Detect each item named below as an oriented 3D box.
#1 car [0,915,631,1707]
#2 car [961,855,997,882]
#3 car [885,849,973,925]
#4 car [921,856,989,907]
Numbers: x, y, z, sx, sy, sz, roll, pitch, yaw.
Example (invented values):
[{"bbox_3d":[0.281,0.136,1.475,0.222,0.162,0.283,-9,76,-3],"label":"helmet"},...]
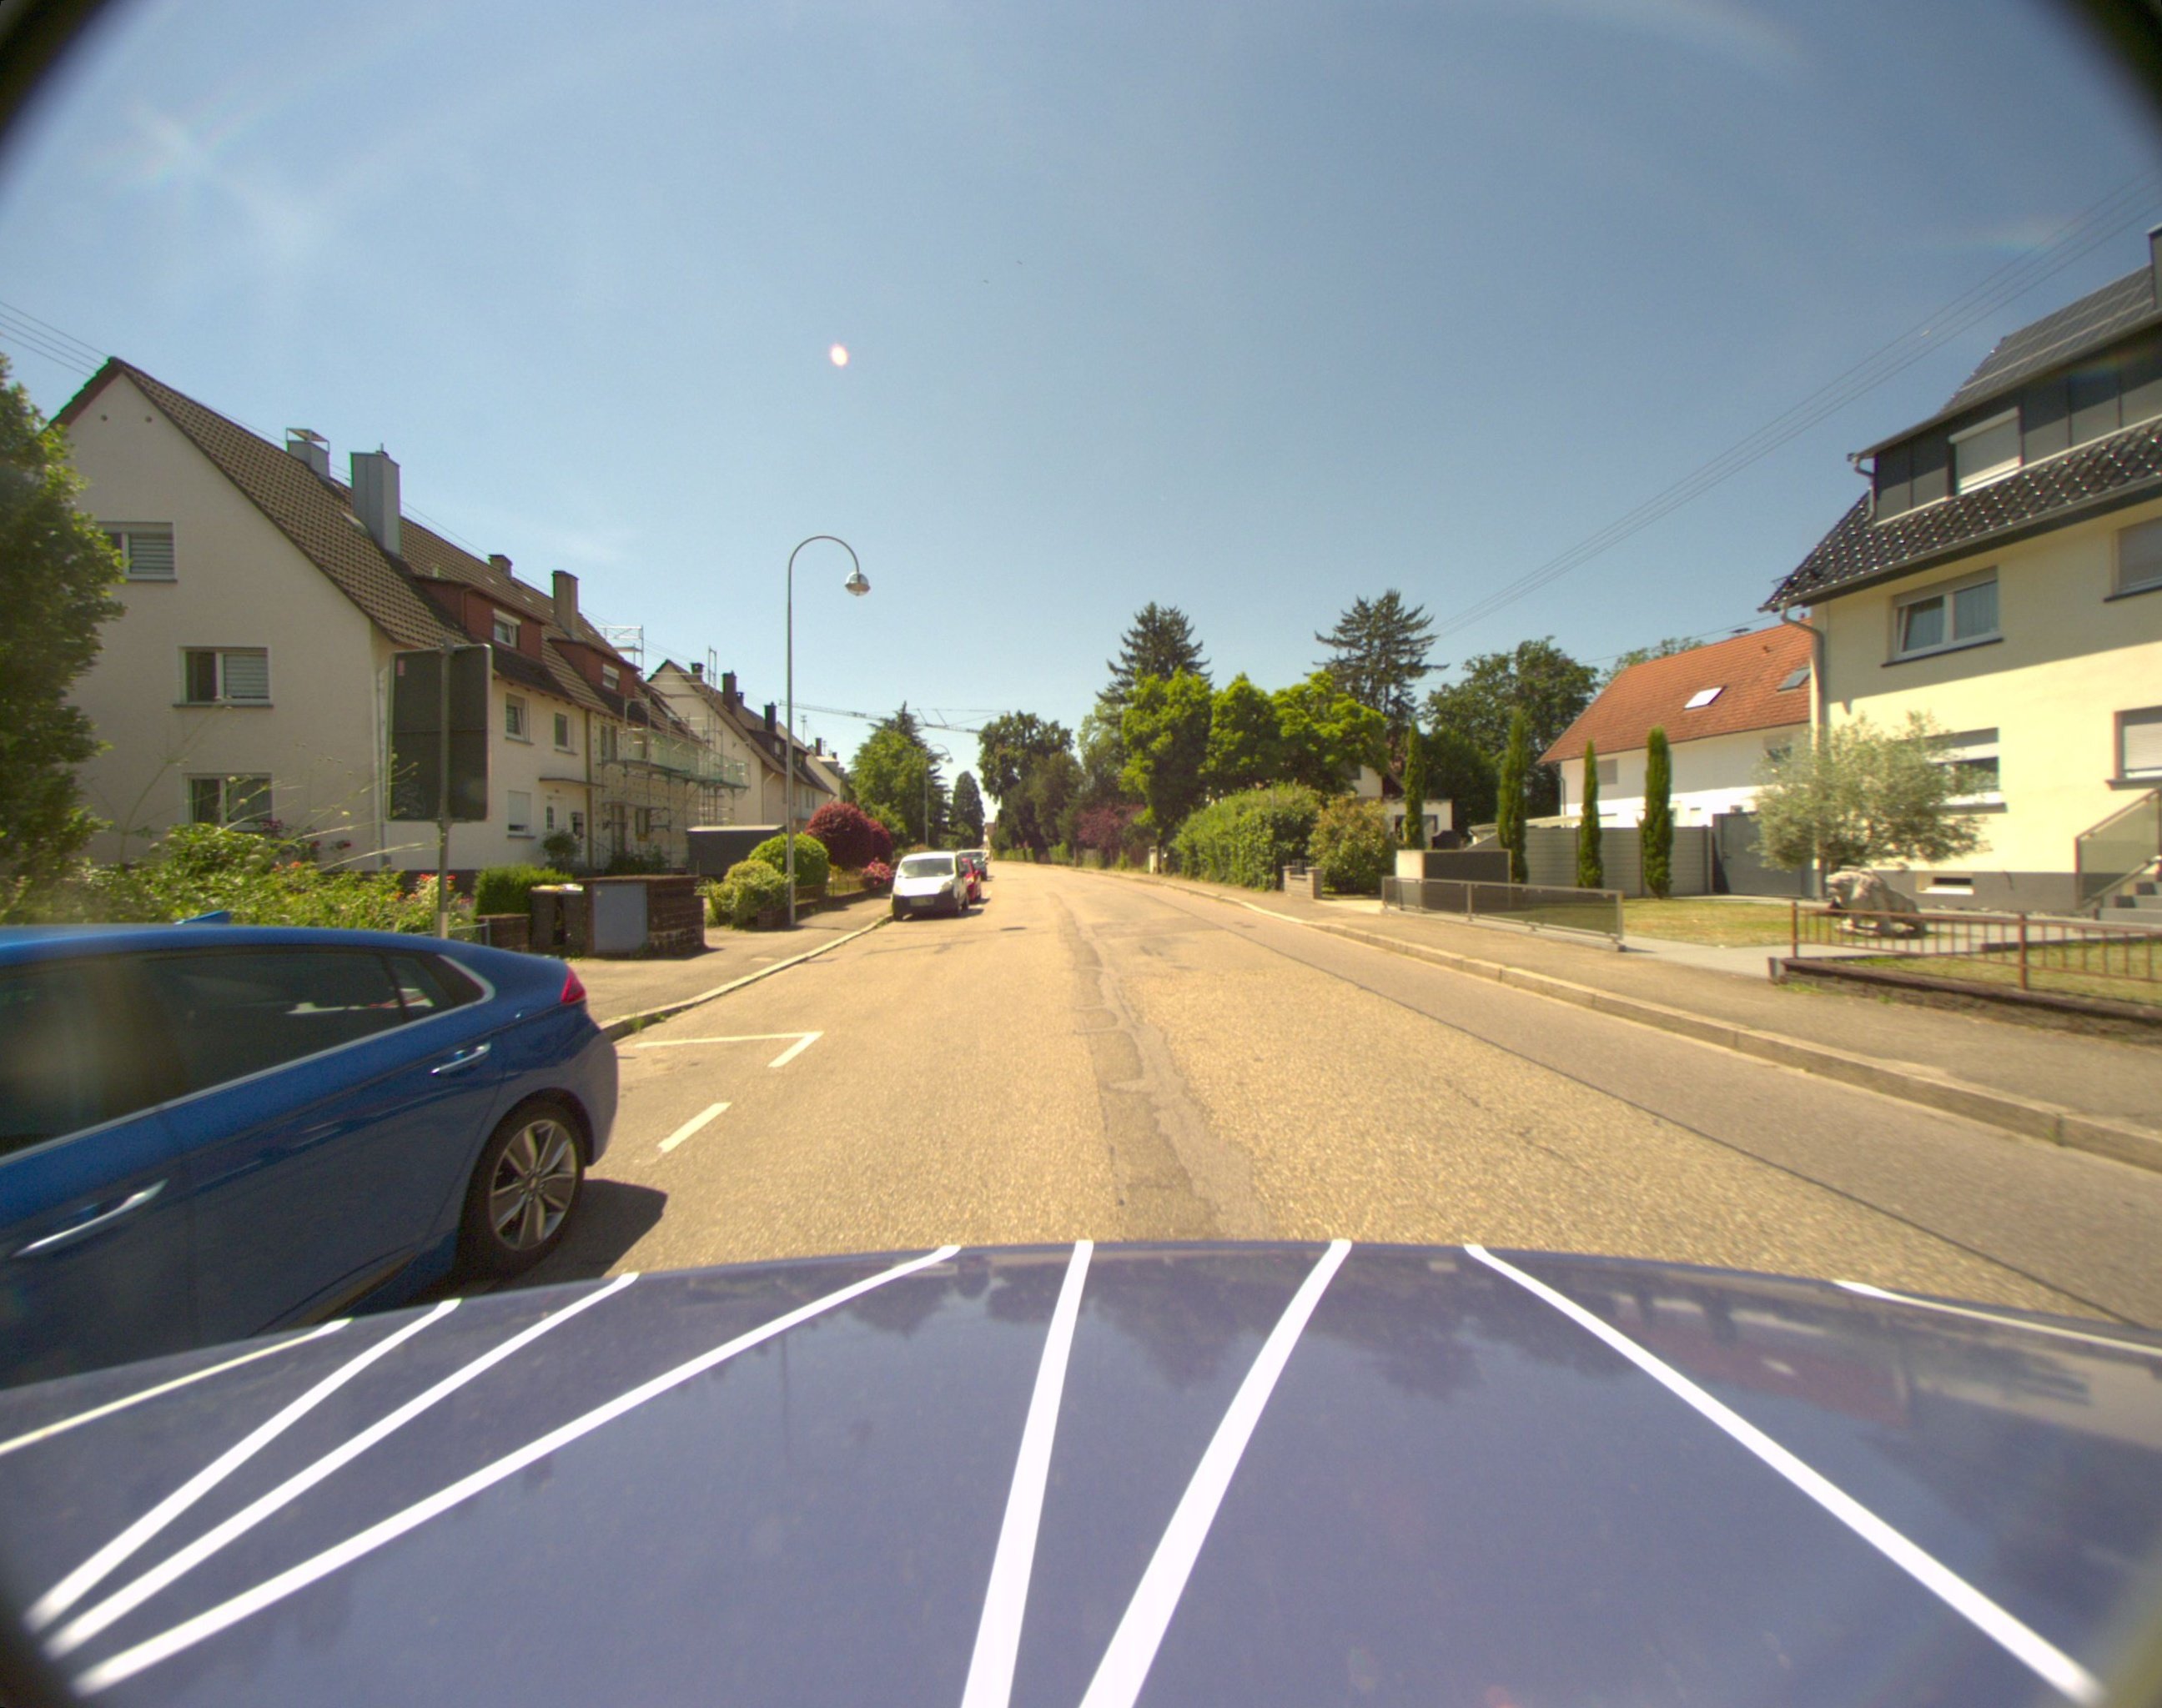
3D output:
[{"bbox_3d":[-2.984,1.059,1.403,1.689,1.445,4.361,-2,1,-1],"label":"car"},{"bbox_3d":[-6.051,0.826,45.409,1.689,1.488,3.939,-2,1,-3],"label":"car"},{"bbox_3d":[-4.032,0.803,20.701,1.689,1.769,3.939,-3,1,-3],"label":"car"},{"bbox_3d":[-4.196,0.861,25.816,1.689,1.488,3.939,-2,1,-2],"label":"car"}]
